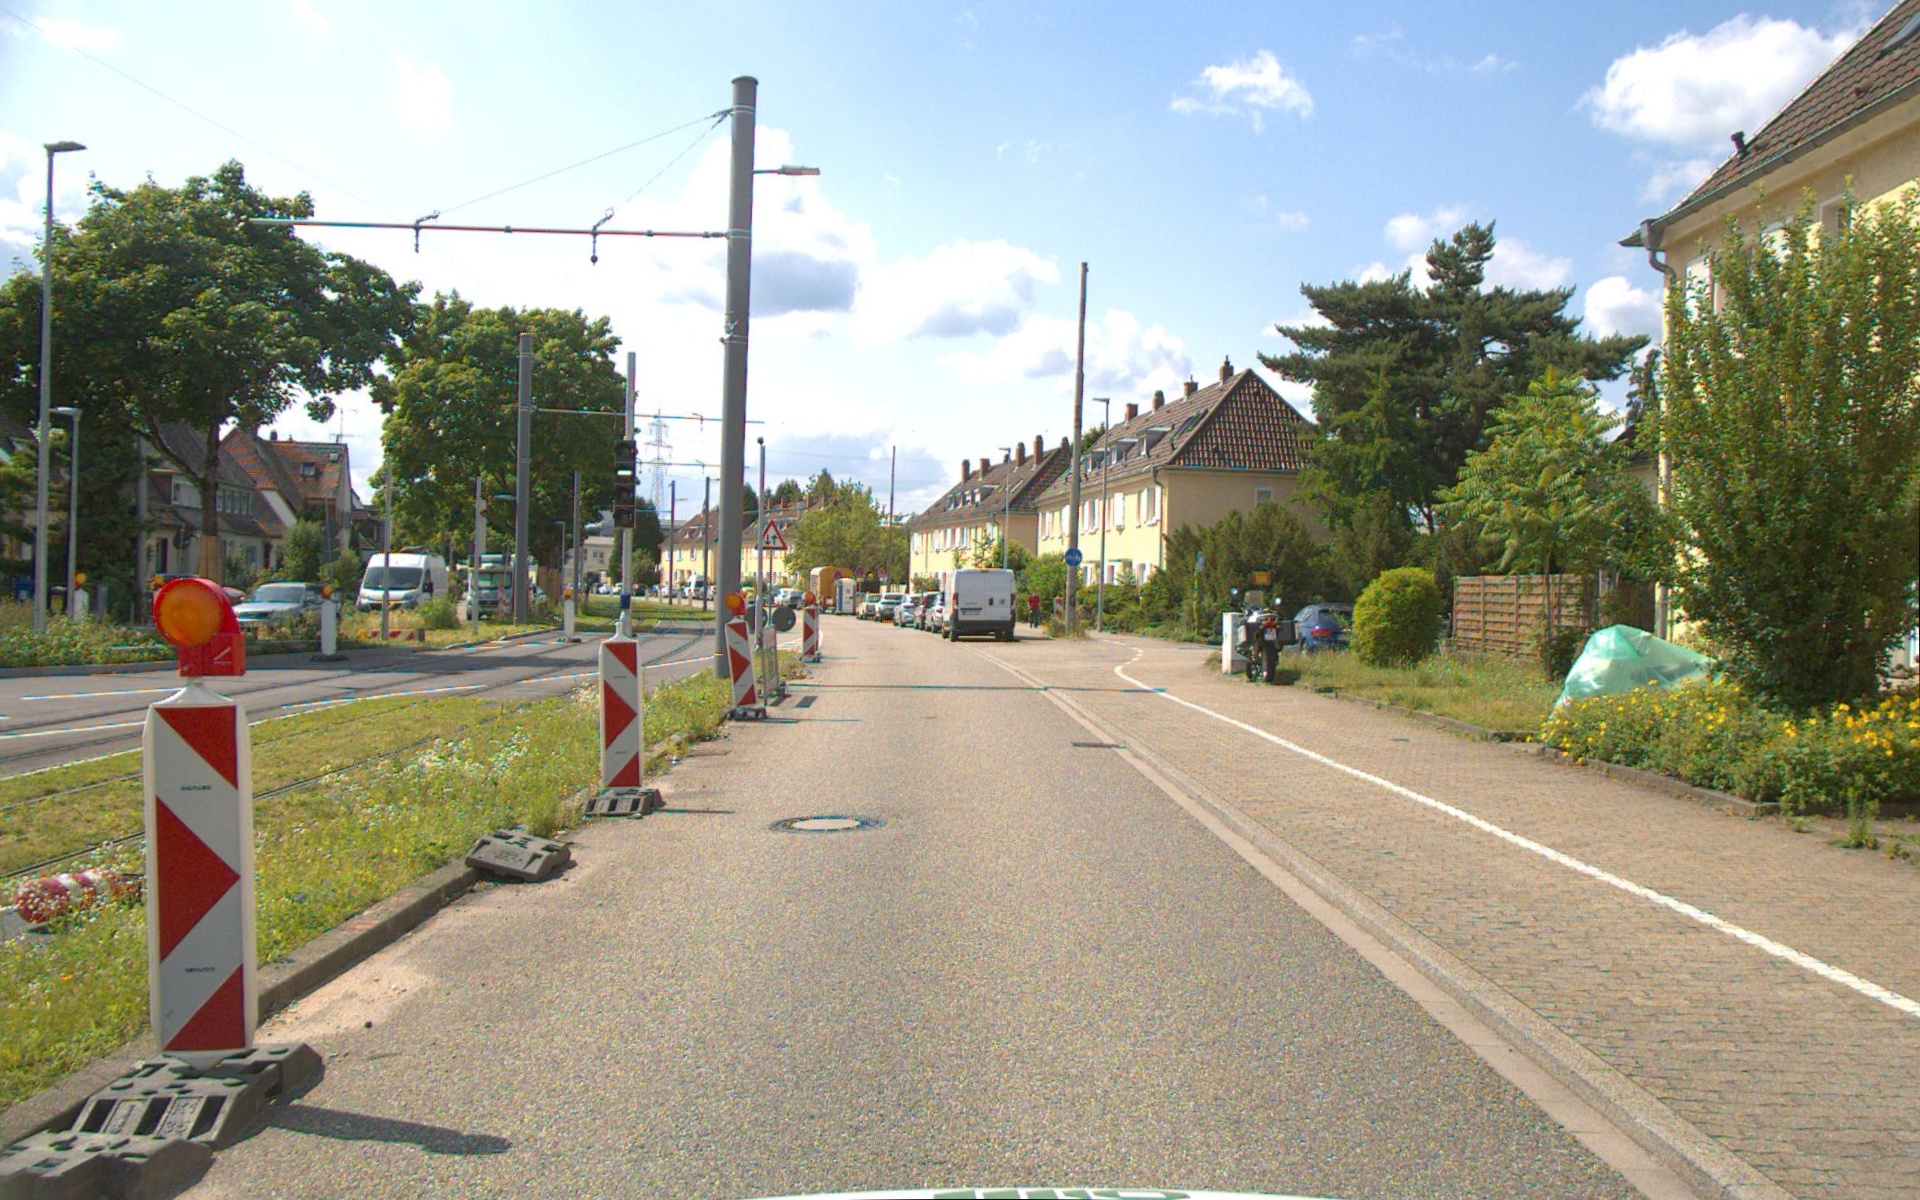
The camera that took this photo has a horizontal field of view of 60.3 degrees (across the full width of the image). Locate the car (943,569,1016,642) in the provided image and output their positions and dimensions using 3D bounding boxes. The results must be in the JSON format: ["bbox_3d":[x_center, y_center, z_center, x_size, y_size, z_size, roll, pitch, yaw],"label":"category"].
[{"bbox_3d":[0.577,0.159,53.444,2.024,2.186,4.876,1,0,-3],"label":"car"}]

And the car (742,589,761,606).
[{"bbox_3d":[-18.839,-0.245,149.127,1.238,1.451,2.652,1,0,-18],"label":"car"}]

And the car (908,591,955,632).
[{"bbox_3d":[-1.203,0.454,68.351,1.537,1.578,3.784,1,0,-7],"label":"car"}]

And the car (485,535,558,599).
[{"bbox_3d":[-17.468,-1.322,66.134,2.363,2.411,4.868,1,1,-10],"label":"car"}]

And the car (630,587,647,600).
[{"bbox_3d":[-38.298,-0.799,196.971,1.243,1.451,2.642,1,0,-27],"label":"car"}]

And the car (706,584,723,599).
[{"bbox_3d":[-24.334,-0.855,163.997,1.239,1.374,2.650,1,0,-20],"label":"car"}]

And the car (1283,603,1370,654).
[{"bbox_3d":[8.213,0.622,37.211,1.285,1.047,2.768,1,0,-1],"label":"car"}]

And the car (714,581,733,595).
[{"bbox_3d":[-22.907,-1.166,160.134,1.239,1.374,2.650,1,0,-20],"label":"car"}]

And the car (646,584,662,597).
[{"bbox_3d":[-35.150,-1.046,190.021,1.241,1.451,2.646,1,0,-23],"label":"car"}]

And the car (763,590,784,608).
[{"bbox_3d":[-15.476,-0.098,137.162,1.237,1.451,2.653,1,0,-16],"label":"car"}]

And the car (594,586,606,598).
[{"bbox_3d":[-46.977,-1.044,216.077,1.238,1.451,2.651,1,0,-19],"label":"car"}]

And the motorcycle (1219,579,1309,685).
[{"bbox_3d":[5.007,0.503,27.385,1.045,1.664,2.083,1,0,-1],"label":"motorcycle"}]

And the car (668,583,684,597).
[{"bbox_3d":[-31.442,-1.091,183.040,1.239,1.451,2.648,1,0,-21],"label":"car"}]

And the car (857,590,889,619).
[{"bbox_3d":[-4.835,0.222,91.944,1.537,1.578,3.474,1,0,-7],"label":"car"}]

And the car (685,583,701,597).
[{"bbox_3d":[-27.796,-1.055,172.419,1.149,1.451,2.649,1,0,-21],"label":"car"}]

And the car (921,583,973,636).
[{"bbox_3d":[-0.528,0.349,63.064,1.537,1.930,3.784,1,0,-7],"label":"car"}]

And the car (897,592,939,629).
[{"bbox_3d":[-1.886,0.461,73.829,1.537,1.578,3.784,1,0,-7],"label":"car"}]

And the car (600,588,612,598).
[{"bbox_3d":[-45.336,-0.900,211.772,1.238,1.207,2.651,1,0,-19],"label":"car"}]

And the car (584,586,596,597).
[{"bbox_3d":[-49.424,-1.110,220.939,1.239,1.451,2.649,1,0,-21],"label":"car"}]

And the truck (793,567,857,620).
[{"bbox_3d":[-9.489,-0.478,115.651,2.598,3.555,9.396,1,0,-16],"label":"truck"}]

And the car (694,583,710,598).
[{"bbox_3d":[-26.253,-0.971,168.238,1.149,1.451,2.649,1,0,-21],"label":"car"}]

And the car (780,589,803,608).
[{"bbox_3d":[-13.044,-0.128,127.868,1.237,1.451,2.653,1,0,-16],"label":"car"}]

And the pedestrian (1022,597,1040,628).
[{"bbox_3d":[3.007,0.524,70.249,0.620,1.277,0.725,1,0,-9],"label":"pedestrian"}]

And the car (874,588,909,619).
[{"bbox_3d":[-3.570,0.169,85.564,1.537,1.578,3.474,1,0,-7],"label":"car"}]

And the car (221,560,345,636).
[{"bbox_3d":[-17.183,-0.061,42.180,2.056,1.807,4.111,1,0,-10],"label":"car"}]

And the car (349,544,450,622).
[{"bbox_3d":[-18.202,-0.535,53.952,2.363,2.379,4.867,1,0,-10],"label":"car"}]

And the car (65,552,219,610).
[{"bbox_3d":[-27.045,-0.628,54.800,4.026,1.807,2.099,1,0,-4],"label":"car"}]
